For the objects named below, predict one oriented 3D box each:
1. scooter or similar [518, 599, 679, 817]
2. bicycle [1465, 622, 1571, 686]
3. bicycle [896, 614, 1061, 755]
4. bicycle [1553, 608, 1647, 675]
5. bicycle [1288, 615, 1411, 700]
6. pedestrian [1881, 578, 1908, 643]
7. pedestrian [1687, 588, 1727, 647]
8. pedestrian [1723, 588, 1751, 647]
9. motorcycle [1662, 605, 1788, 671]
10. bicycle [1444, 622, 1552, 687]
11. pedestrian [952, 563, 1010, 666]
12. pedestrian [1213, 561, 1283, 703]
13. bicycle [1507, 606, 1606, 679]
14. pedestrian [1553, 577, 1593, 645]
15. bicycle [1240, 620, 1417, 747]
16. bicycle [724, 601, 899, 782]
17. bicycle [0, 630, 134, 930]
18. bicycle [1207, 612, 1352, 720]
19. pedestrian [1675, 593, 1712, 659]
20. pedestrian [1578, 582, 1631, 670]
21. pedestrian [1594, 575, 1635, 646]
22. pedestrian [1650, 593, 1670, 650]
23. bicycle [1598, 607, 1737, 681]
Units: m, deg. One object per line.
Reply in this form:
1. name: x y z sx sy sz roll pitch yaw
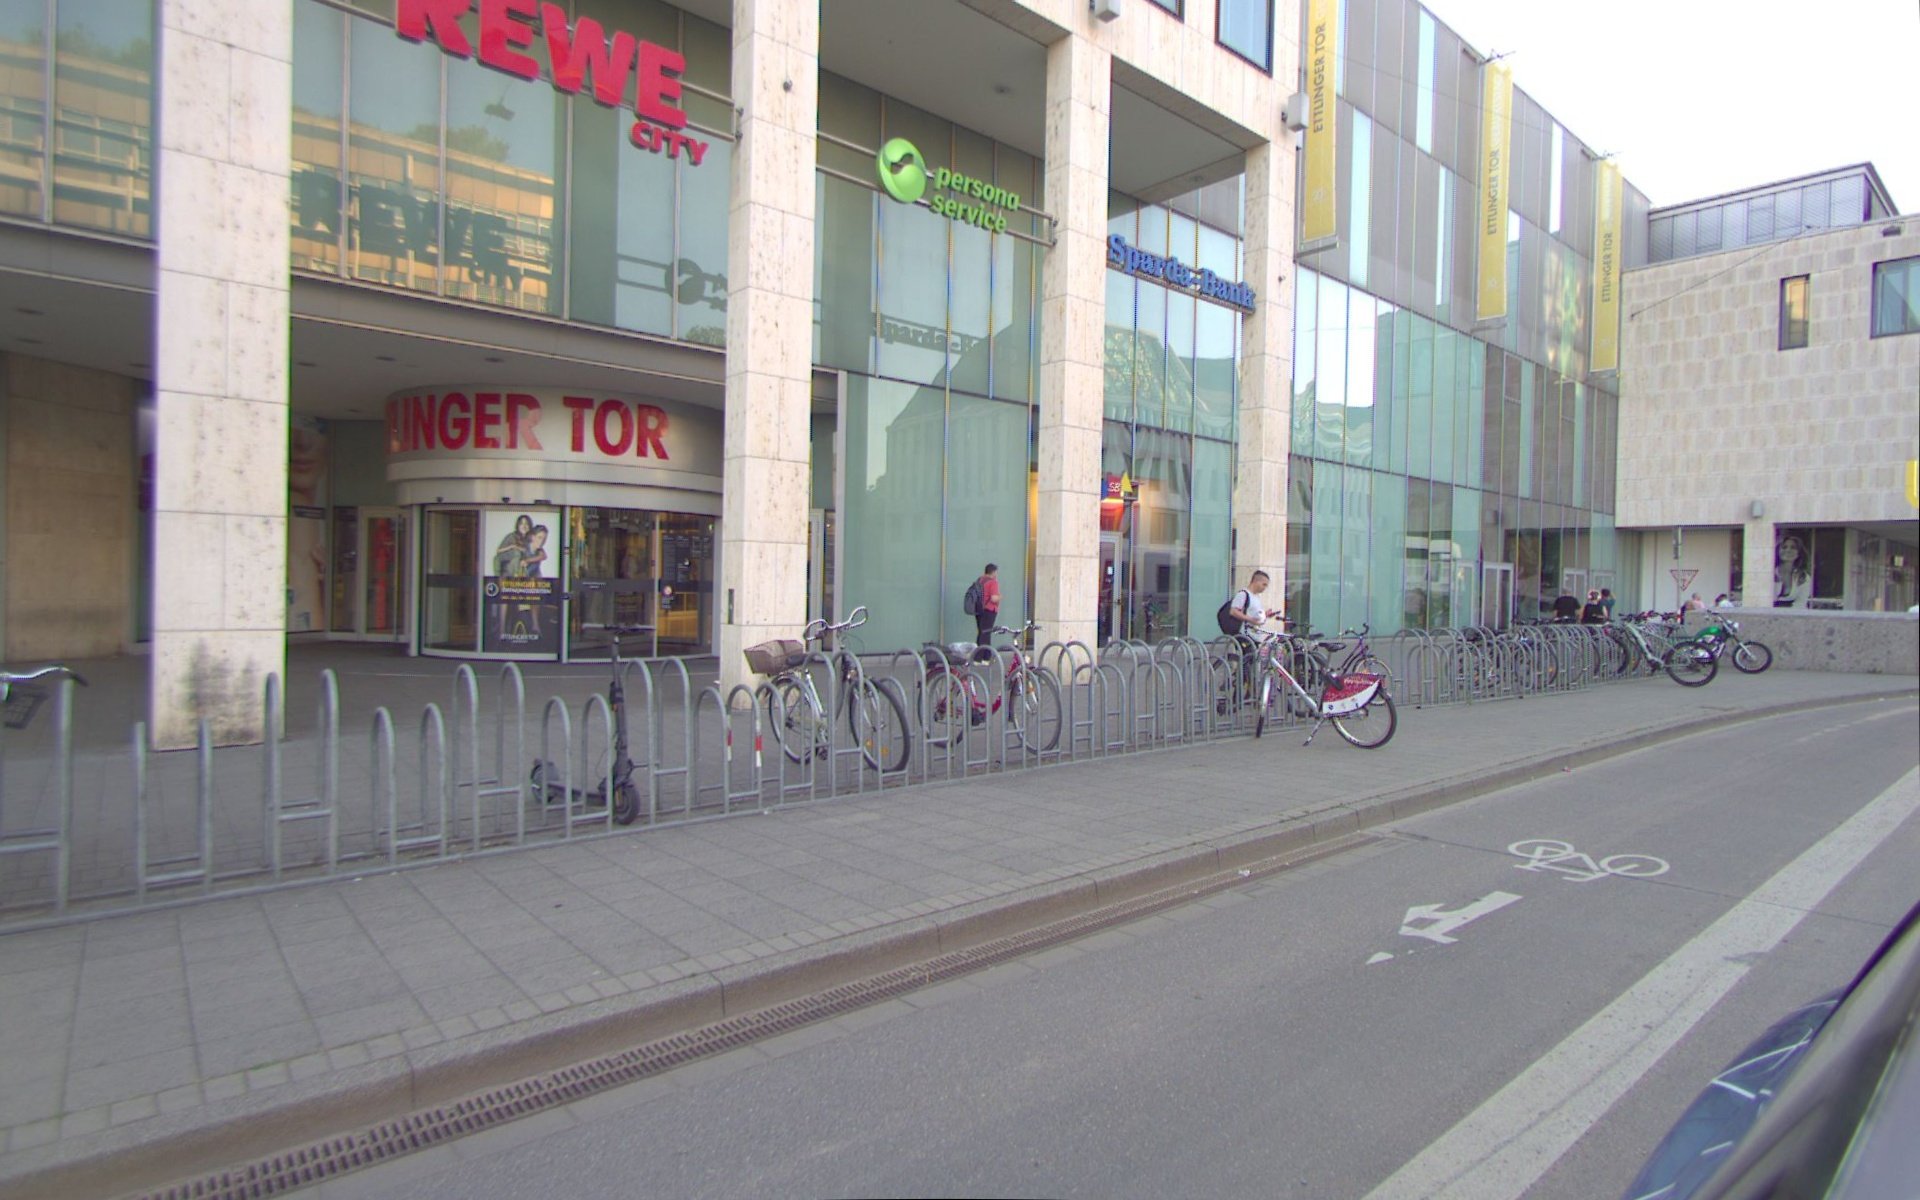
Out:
1. scooter or similar: -2.310 0.622 6.410 0.484 1.214 1.194 1 1 -44
2. bicycle: 8.656 0.818 15.730 0.509 0.944 1.344 1 -2 -41
3. bicycle: 0.132 0.682 8.807 0.543 1.120 1.516 1 -2 -43
4. bicycle: 11.593 0.731 18.367 0.509 1.179 1.344 1 -2 -41
5. bicycle: 5.215 0.746 13.592 1.439 1.078 0.572 -1 -2 39
6. pedestrian: 25.925 0.285 28.080 0.483 1.765 0.455 1 1 -38
7. pedestrian: 22.913 0.523 31.050 0.644 1.765 0.794 1 1 -38
8. pedestrian: 23.589 0.522 30.731 0.644 1.765 0.494 1 1 -38
9. motorcycle: 15.775 0.749 20.917 0.472 1.239 2.004 1 1 -43
10. bicycle: 8.146 0.806 15.351 0.509 0.944 1.344 1 -2 -41
11. pedestrian: 0.350 0.236 16.903 0.695 1.672 0.629 1 1 -40
12. pedestrian: 3.617 0.386 12.716 0.701 1.713 0.623 2 1 28
13. bicycle: 10.031 0.699 17.041 0.509 1.179 1.344 1 -2 -41
14. pedestrian: 15.556 0.266 25.681 0.737 1.668 0.809 2 1 38
15. bicycle: 3.377 0.727 9.387 0.458 1.077 1.517 1 -2 -39
16. bicycle: -1.168 0.637 7.740 0.607 1.243 1.517 1 -2 -41
17. bicycle: -4.358 0.740 4.760 1.768 1.092 0.475 3 1 43
18. bicycle: 3.583 0.708 11.450 0.569 1.138 1.519 1 -2 -37
19. pedestrian: 20.580 0.725 28.393 0.797 1.802 0.619 1 1 -38
20. pedestrian: 12.661 0.496 19.904 0.802 1.663 0.640 2 1 31
21. pedestrian: 16.337 0.245 25.245 0.696 1.717 0.807 2 1 43
22. pedestrian: 21.906 0.669 31.686 0.444 1.765 0.364 1 1 -38
23. bicycle: 11.766 0.707 16.893 0.458 1.161 1.837 1 -2 -39
